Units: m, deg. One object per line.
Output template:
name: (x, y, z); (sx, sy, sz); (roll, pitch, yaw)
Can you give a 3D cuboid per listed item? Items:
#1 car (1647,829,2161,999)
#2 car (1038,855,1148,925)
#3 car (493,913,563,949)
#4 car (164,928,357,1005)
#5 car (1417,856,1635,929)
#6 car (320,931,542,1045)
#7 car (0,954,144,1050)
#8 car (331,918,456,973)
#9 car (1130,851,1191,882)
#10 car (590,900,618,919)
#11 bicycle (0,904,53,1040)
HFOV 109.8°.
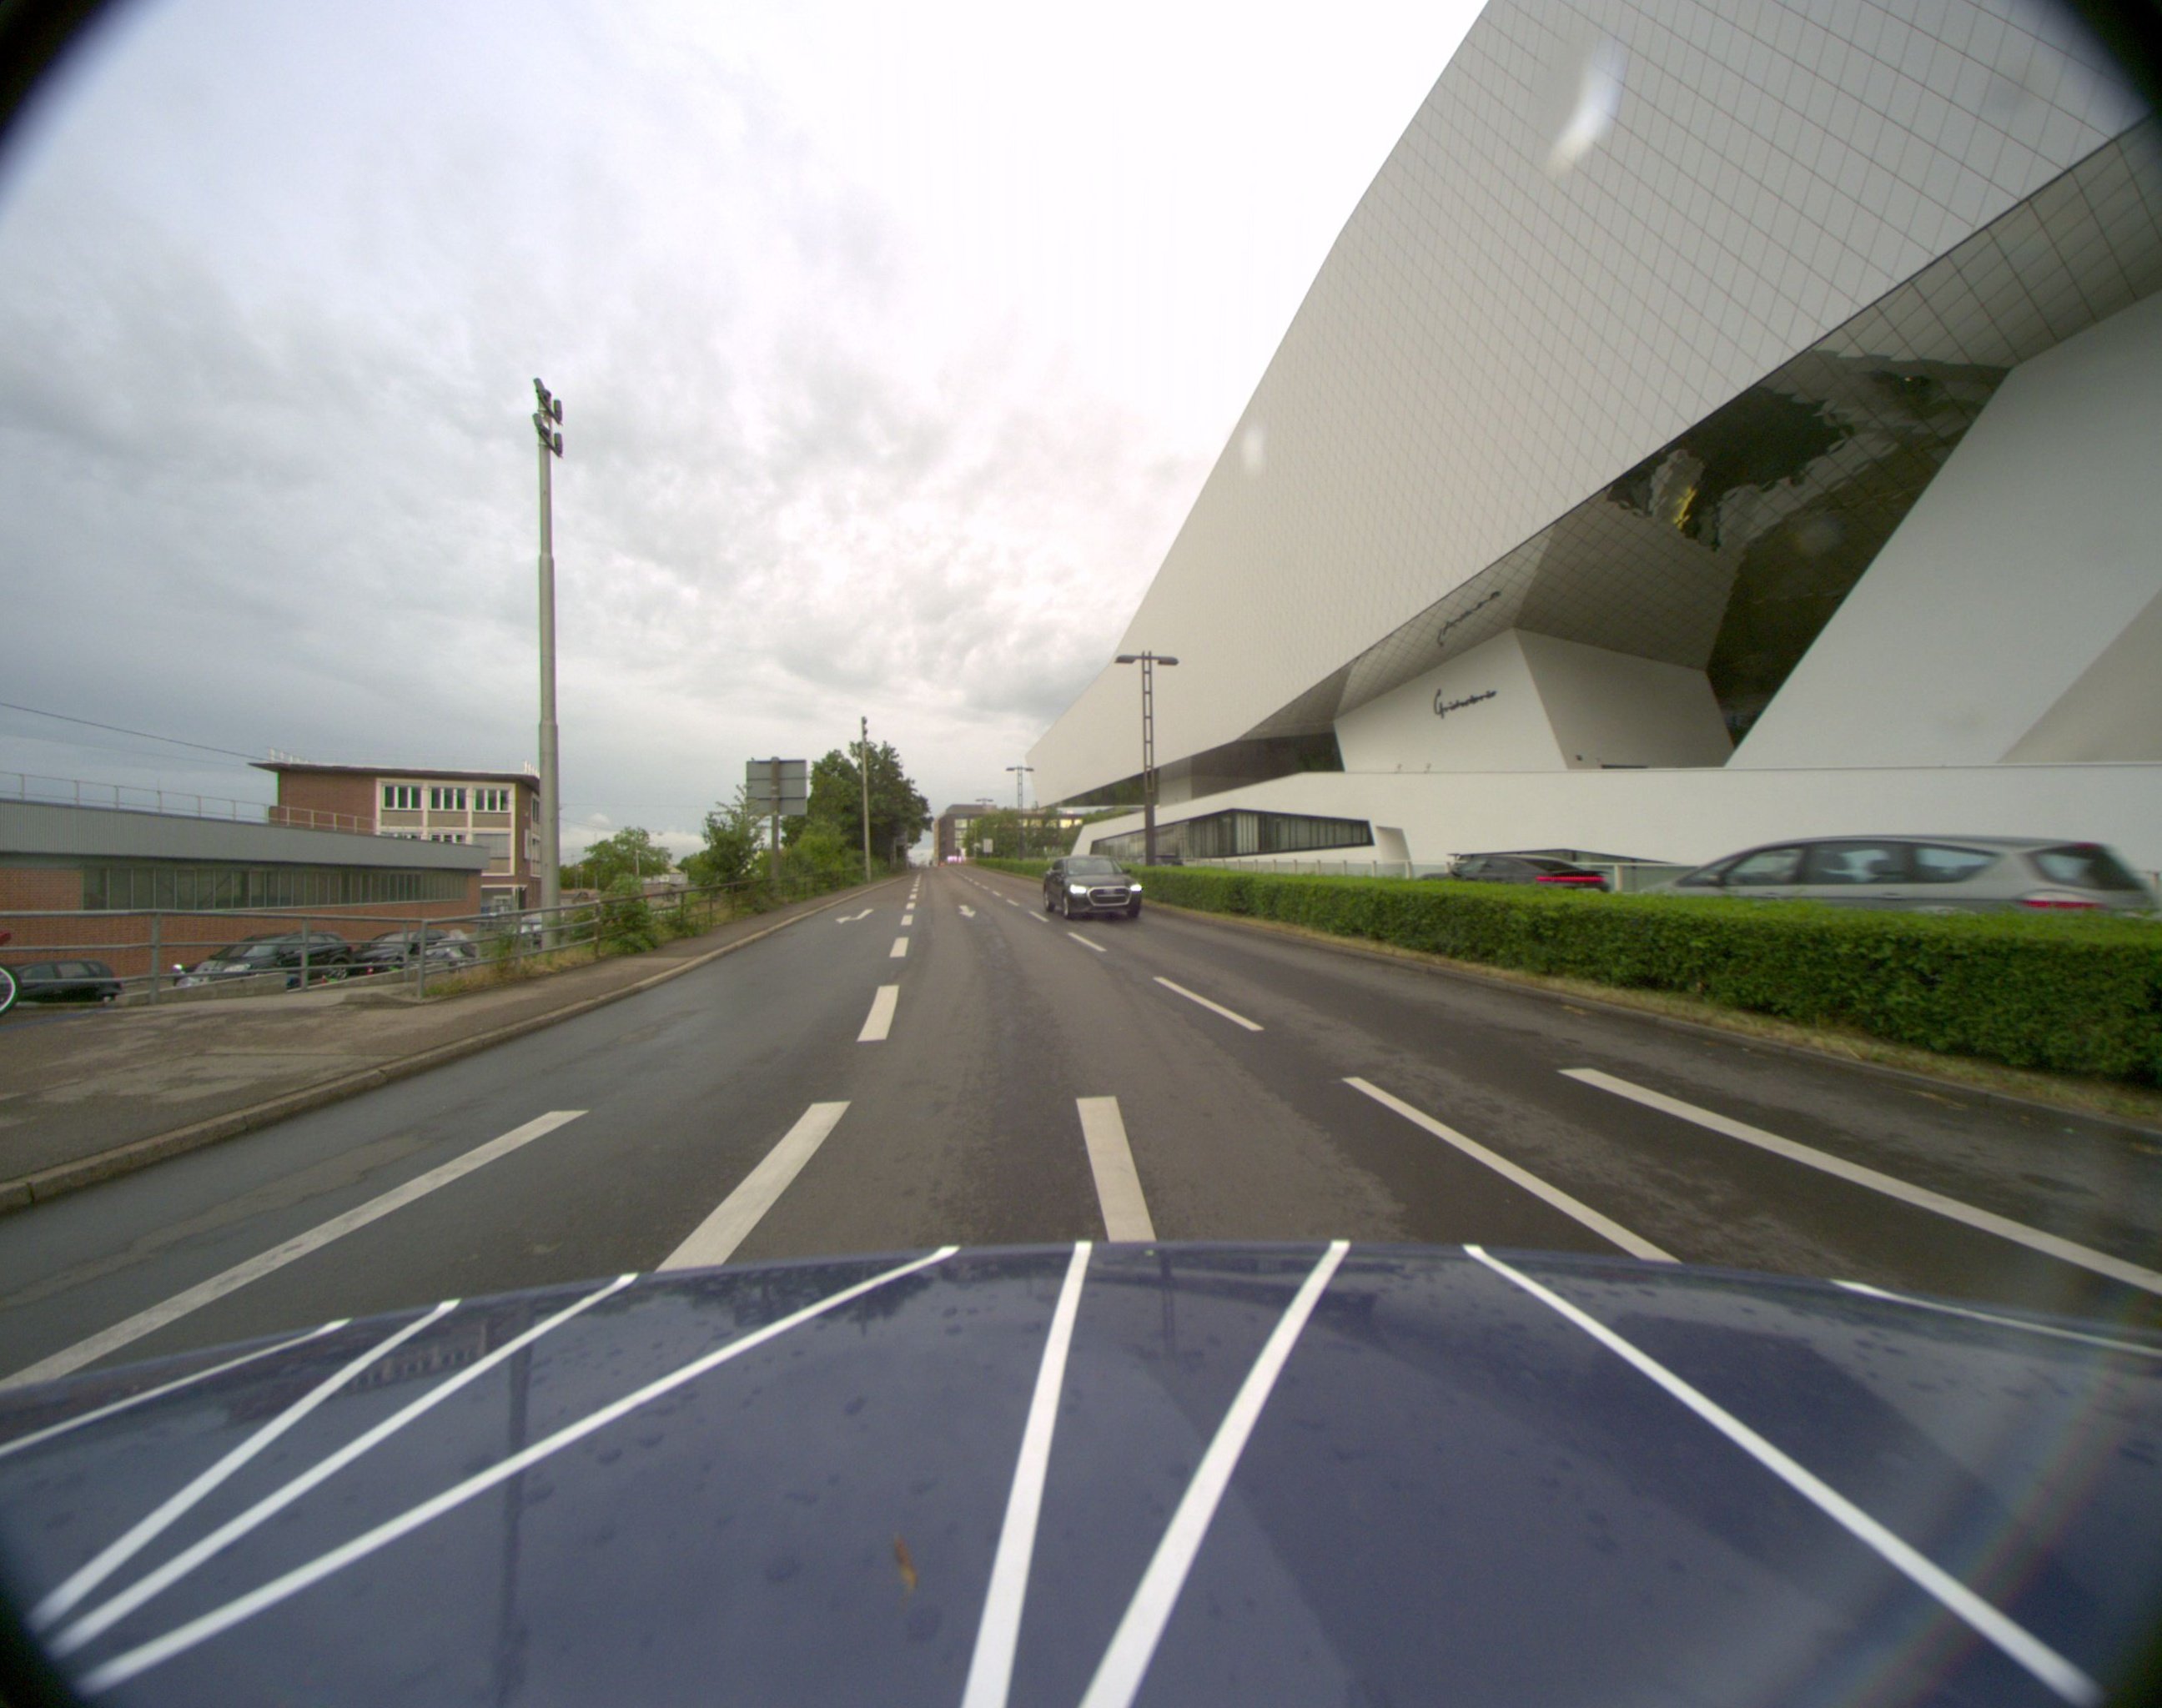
car: (9.239, 0.532, 8.843); (1.840, 1.485, 3.995); (-1, 0, -13)
car: (0.181, 0.833, 19.771); (1.843, 1.574, 4.284); (-1, 0, -13)
car: (-30.046, 4.145, 41.424); (1.704, 1.546, 3.852); (-1, 0, -14)
car: (-24.384, 3.259, 22.858); (1.638, 1.621, 4.425); (-1, 0, -12)
car: (10.223, 0.809, 17.950); (1.840, 1.463, 4.508); (-1, 0, -13)
car: (-12.790, 2.547, 15.301); (1.704, 1.546, 3.853); (-1, 0, -12)
car: (-23.180, 3.235, 16.309); (1.704, 1.618, 3.927); (-1, 0, -11)
car: (-25.685, 3.370, 28.563); (1.704, 1.546, 3.853); (-1, 0, -12)
car: (3.754, 0.578, 36.428); (1.852, 1.330, 3.996); (-1, 0, -10)
car: (-42.031, 4.840, 67.025); (1.670, 1.387, 3.992); (-2, 0, -27)
bicycle: (-10.549, 1.066, 6.547); (1.935, 1.171, 0.598); (-1, 1, -26)
